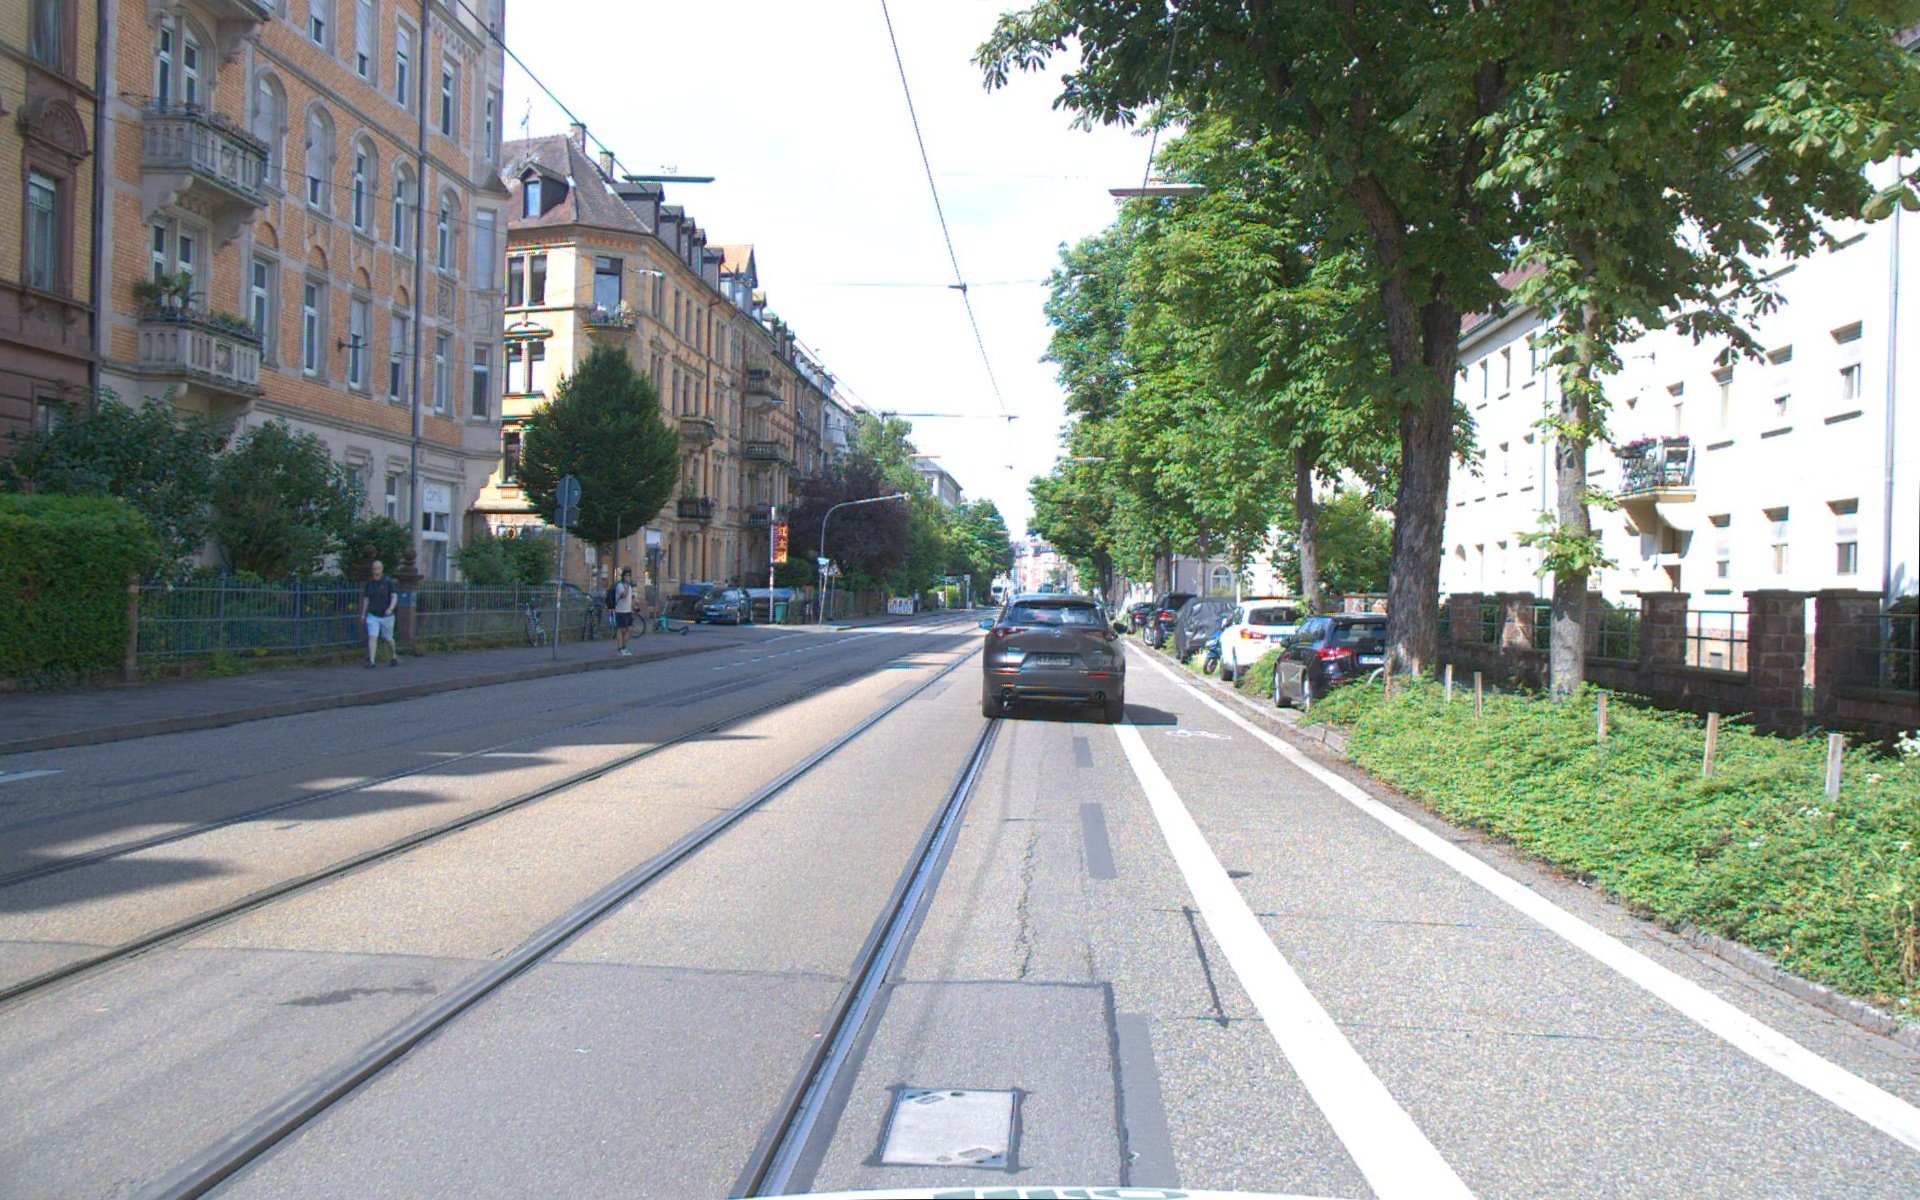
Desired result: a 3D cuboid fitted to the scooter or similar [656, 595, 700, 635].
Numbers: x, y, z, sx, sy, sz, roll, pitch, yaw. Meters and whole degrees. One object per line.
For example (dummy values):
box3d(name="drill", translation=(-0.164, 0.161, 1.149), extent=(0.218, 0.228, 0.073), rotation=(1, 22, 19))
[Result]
box3d(name="scooter or similar", translation=(-9.162, 0.497, 53.748), extent=(1.344, 1.256, 0.401), rotation=(2, 0, -26))

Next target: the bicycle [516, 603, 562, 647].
box3d(name="bicycle", translation=(-9.310, 0.543, 36.595), extent=(0.412, 0.949, 1.950), rotation=(1, 0, 3))

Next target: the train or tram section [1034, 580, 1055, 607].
box3d(name="train or tram section", translation=(12.709, -0.961, 249.509), extent=(2.519, 3.838, 13.026), rotation=(1, 0, 1))

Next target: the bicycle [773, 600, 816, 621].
box3d(name="bicycle", translation=(-7.747, 0.487, 77.444), extent=(1.922, 0.963, 0.531), rotation=(1, 0, -1))

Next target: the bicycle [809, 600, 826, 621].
box3d(name="bicycle", translation=(-6.781, 0.485, 78.774), extent=(0.519, 0.963, 1.969), rotation=(1, 0, 3))

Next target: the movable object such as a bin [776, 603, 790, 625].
box3d(name="movable object such as a bin", translation=(-7.582, 0.584, 70.912), extent=(0.514, 0.921, 0.636), rotation=(1, 0, 2))

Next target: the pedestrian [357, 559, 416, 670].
box3d(name="pedestrian", translation=(-9.205, 0.228, 26.564), extent=(0.477, 1.733, 1.151), rotation=(1, 0, 1))

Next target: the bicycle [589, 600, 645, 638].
box3d(name="bicycle", translation=(-9.302, 0.510, 44.862), extent=(1.422, 0.994, 0.404), rotation=(1, 0, 3))

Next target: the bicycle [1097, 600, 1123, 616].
box3d(name="bicycle", translation=(11.229, 0.589, 123.990), extent=(1.896, 1.196, 0.513), rotation=(0, -1, 15))

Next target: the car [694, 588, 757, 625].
box3d(name="car", translation=(-9.695, 0.263, 68.749), extent=(1.650, 1.485, 4.766), rotation=(1, 0, 3))

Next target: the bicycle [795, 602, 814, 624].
box3d(name="bicycle", translation=(-7.040, 0.587, 74.914), extent=(0.519, 0.963, 1.969), rotation=(1, 0, 3))

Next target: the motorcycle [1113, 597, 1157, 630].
box3d(name="motorcycle", translation=(9.340, 0.707, 88.428), extent=(2.345, 1.625, 0.674), rotation=(3, 1, 42))

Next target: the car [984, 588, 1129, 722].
box3d(name="car", translation=(1.236, 0.648, 21.341), extent=(1.685, 1.553, 3.591), rotation=(1, 0, 3))

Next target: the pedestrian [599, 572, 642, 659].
box3d(name="pedestrian", translation=(-7.164, 0.322, 34.914), extent=(0.522, 1.791, 1.106), rotation=(3, 0, 3))

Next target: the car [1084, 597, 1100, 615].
box3d(name="car", translation=(14.898, 0.666, 186.894), extent=(1.684, 2.003, 4.209), rotation=(1, 0, 4))

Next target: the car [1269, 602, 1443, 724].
box3d(name="car", translation=(5.602, 0.823, 23.889), extent=(1.626, 1.547, 4.289), rotation=(1, 0, 2))

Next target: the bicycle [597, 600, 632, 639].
box3d(name="bicycle", translation=(-9.022, 0.498, 43.249), extent=(0.412, 0.993, 1.950), rotation=(1, 0, 3))

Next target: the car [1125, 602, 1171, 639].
box3d(name="car", translation=(8.246, 0.893, 72.877), extent=(1.671, 1.504, 4.198), rotation=(3, 0, 3))

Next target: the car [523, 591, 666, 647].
box3d(name="car", translation=(-10.322, 0.519, 46.871), extent=(3.527, 1.427, 1.788), rotation=(2, 0, 7))

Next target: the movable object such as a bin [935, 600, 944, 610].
box3d(name="movable object such as a bin", translation=(-2.014, 0.484, 159.699), extent=(0.729, 1.005, 1.114), rotation=(3, 0, 3))

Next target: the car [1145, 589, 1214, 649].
box3d(name="car", translation=(6.986, 0.571, 53.013), extent=(1.789, 1.813, 4.735), rotation=(1, 0, 3))

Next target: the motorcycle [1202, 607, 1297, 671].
box3d(name="motorcycle", translation=(6.435, 0.857, 36.868), extent=(1.965, 1.360, 0.747), rotation=(1, 0, -1))

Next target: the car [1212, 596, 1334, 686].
box3d(name="car", translation=(6.029, 0.745, 32.291), extent=(1.706, 1.608, 4.250), rotation=(1, 0, 2))

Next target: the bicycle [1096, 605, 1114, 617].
box3d(name="bicycle", translation=(12.087, 0.890, 138.145), extent=(1.460, 1.000, 0.259), rotation=(1, -1, 5))

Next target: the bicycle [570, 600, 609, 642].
box3d(name="bicycle", translation=(-9.123, 0.509, 40.764), extent=(0.412, 0.993, 1.950), rotation=(1, 0, 3))

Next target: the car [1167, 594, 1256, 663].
box3d(name="car", translation=(6.578, 0.700, 43.645), extent=(1.824, 1.682, 4.639), rotation=(1, 0, 3))

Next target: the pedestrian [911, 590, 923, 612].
box3d(name="pedestrian", translation=(-3.321, 0.084, 127.880), extent=(0.805, 1.736, 0.891), rotation=(1, 0, 0))

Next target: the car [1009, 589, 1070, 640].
box3d(name="car", translation=(2.746, 0.493, 56.904), extent=(1.952, 1.555, 4.001), rotation=(3, 0, 3))
